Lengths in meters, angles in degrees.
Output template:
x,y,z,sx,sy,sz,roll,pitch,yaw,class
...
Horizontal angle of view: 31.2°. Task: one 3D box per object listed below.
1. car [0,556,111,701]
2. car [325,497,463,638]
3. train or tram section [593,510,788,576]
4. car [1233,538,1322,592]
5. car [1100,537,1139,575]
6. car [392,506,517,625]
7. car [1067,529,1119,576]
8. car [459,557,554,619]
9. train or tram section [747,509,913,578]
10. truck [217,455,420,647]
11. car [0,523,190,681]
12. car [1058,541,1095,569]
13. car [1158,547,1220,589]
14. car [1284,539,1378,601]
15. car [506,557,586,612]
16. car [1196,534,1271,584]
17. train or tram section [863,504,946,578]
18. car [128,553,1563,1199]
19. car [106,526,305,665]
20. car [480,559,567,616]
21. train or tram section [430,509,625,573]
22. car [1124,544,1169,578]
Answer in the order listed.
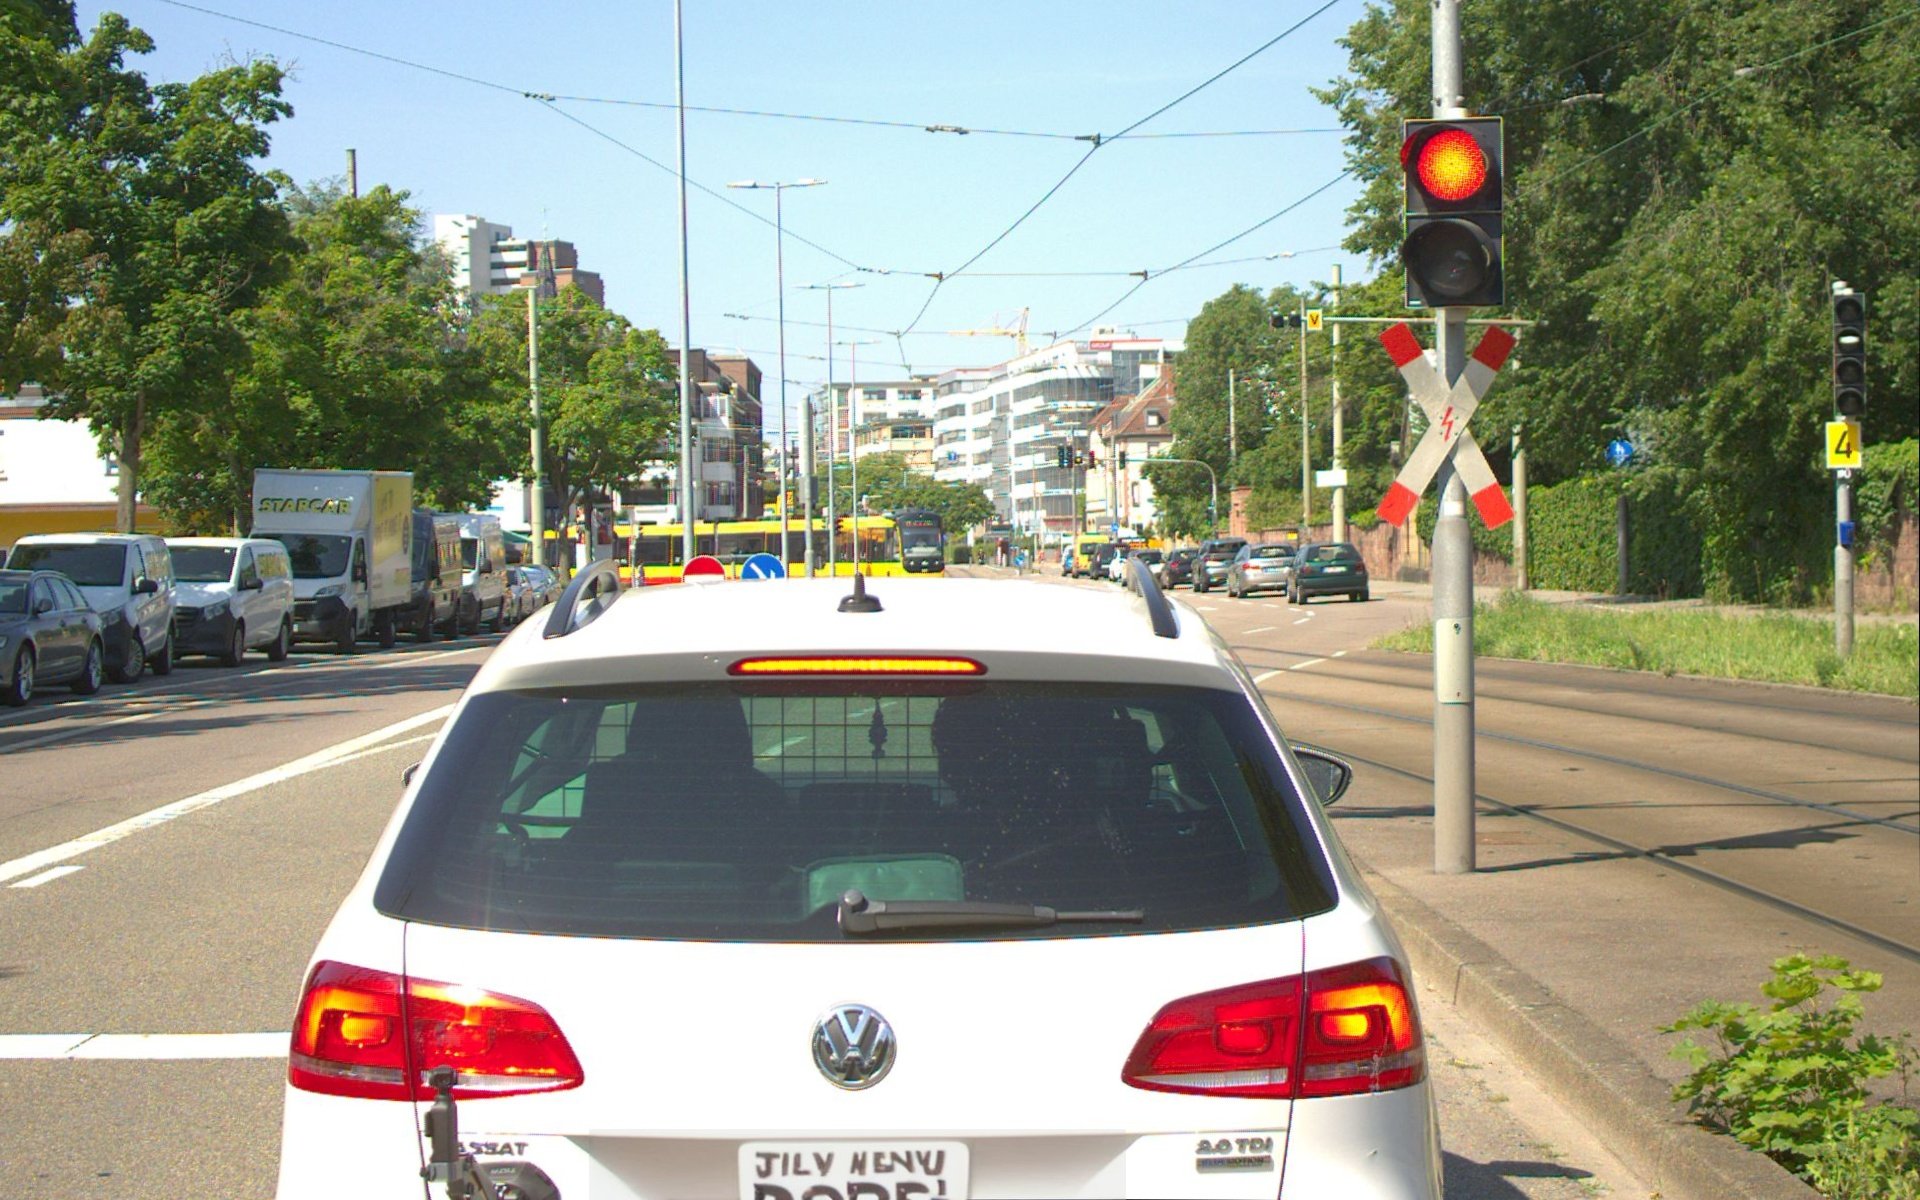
x,y,z,sx,sy,sz,roll,pitch,yaw,class
-10.998,0.296,38.703,1.843,1.511,4.197,-1,1,-1,car
-11.165,-0.666,68.115,1.843,2.659,5.003,-1,1,0,car
-13.775,-2.931,174.785,10.793,3.241,2.304,1,0,34,train or tram section
8.647,-0.974,94.008,1.861,1.412,4.325,1,1,-2,car
7.726,-2.141,166.814,1.691,1.806,3.454,1,0,-1,car
-11.110,-0.780,75.890,1.843,2.486,5.857,-1,1,0,car
7.212,-2.563,187.375,2.463,2.490,5.910,1,0,-1,car
-11.243,-0.319,85.459,1.843,1.428,4.038,-1,1,-1,car
-6.422,-2.767,167.652,2.301,3.241,10.805,1,0,-37,train or tram section
-11.161,-0.876,60.351,2.356,3.112,6.892,-1,1,-1,truck
-11.514,-0.018,45.394,1.843,1.930,5.195,-1,1,-4,car
6.802,-2.627,201.177,1.993,1.590,4.000,1,0,0,car
8.076,-1.152,121.510,1.745,1.403,3.913,1,1,-2,car
8.631,-0.715,80.218,1.746,1.383,3.913,1,1,0,car
-11.603,-0.456,96.600,1.780,1.428,4.038,-1,1,-1,car
8.584,-1.294,108.137,1.861,1.508,3.913,1,1,-2,car
-2.612,-2.650,158.458,2.300,3.241,11.277,1,0,-8,train or tram section
-0.195,0.660,6.227,1.768,1.441,3.913,1,1,-1,car
-11.333,-0.112,51.979,1.843,1.954,5.134,-1,1,0,car
-11.665,-0.359,92.051,1.843,1.428,4.038,-1,1,-1,car
-22.730,-3.112,180.353,10.789,3.241,2.305,1,0,29,train or tram section
7.611,-1.596,140.650,1.581,1.341,3.454,1,0,-1,car
